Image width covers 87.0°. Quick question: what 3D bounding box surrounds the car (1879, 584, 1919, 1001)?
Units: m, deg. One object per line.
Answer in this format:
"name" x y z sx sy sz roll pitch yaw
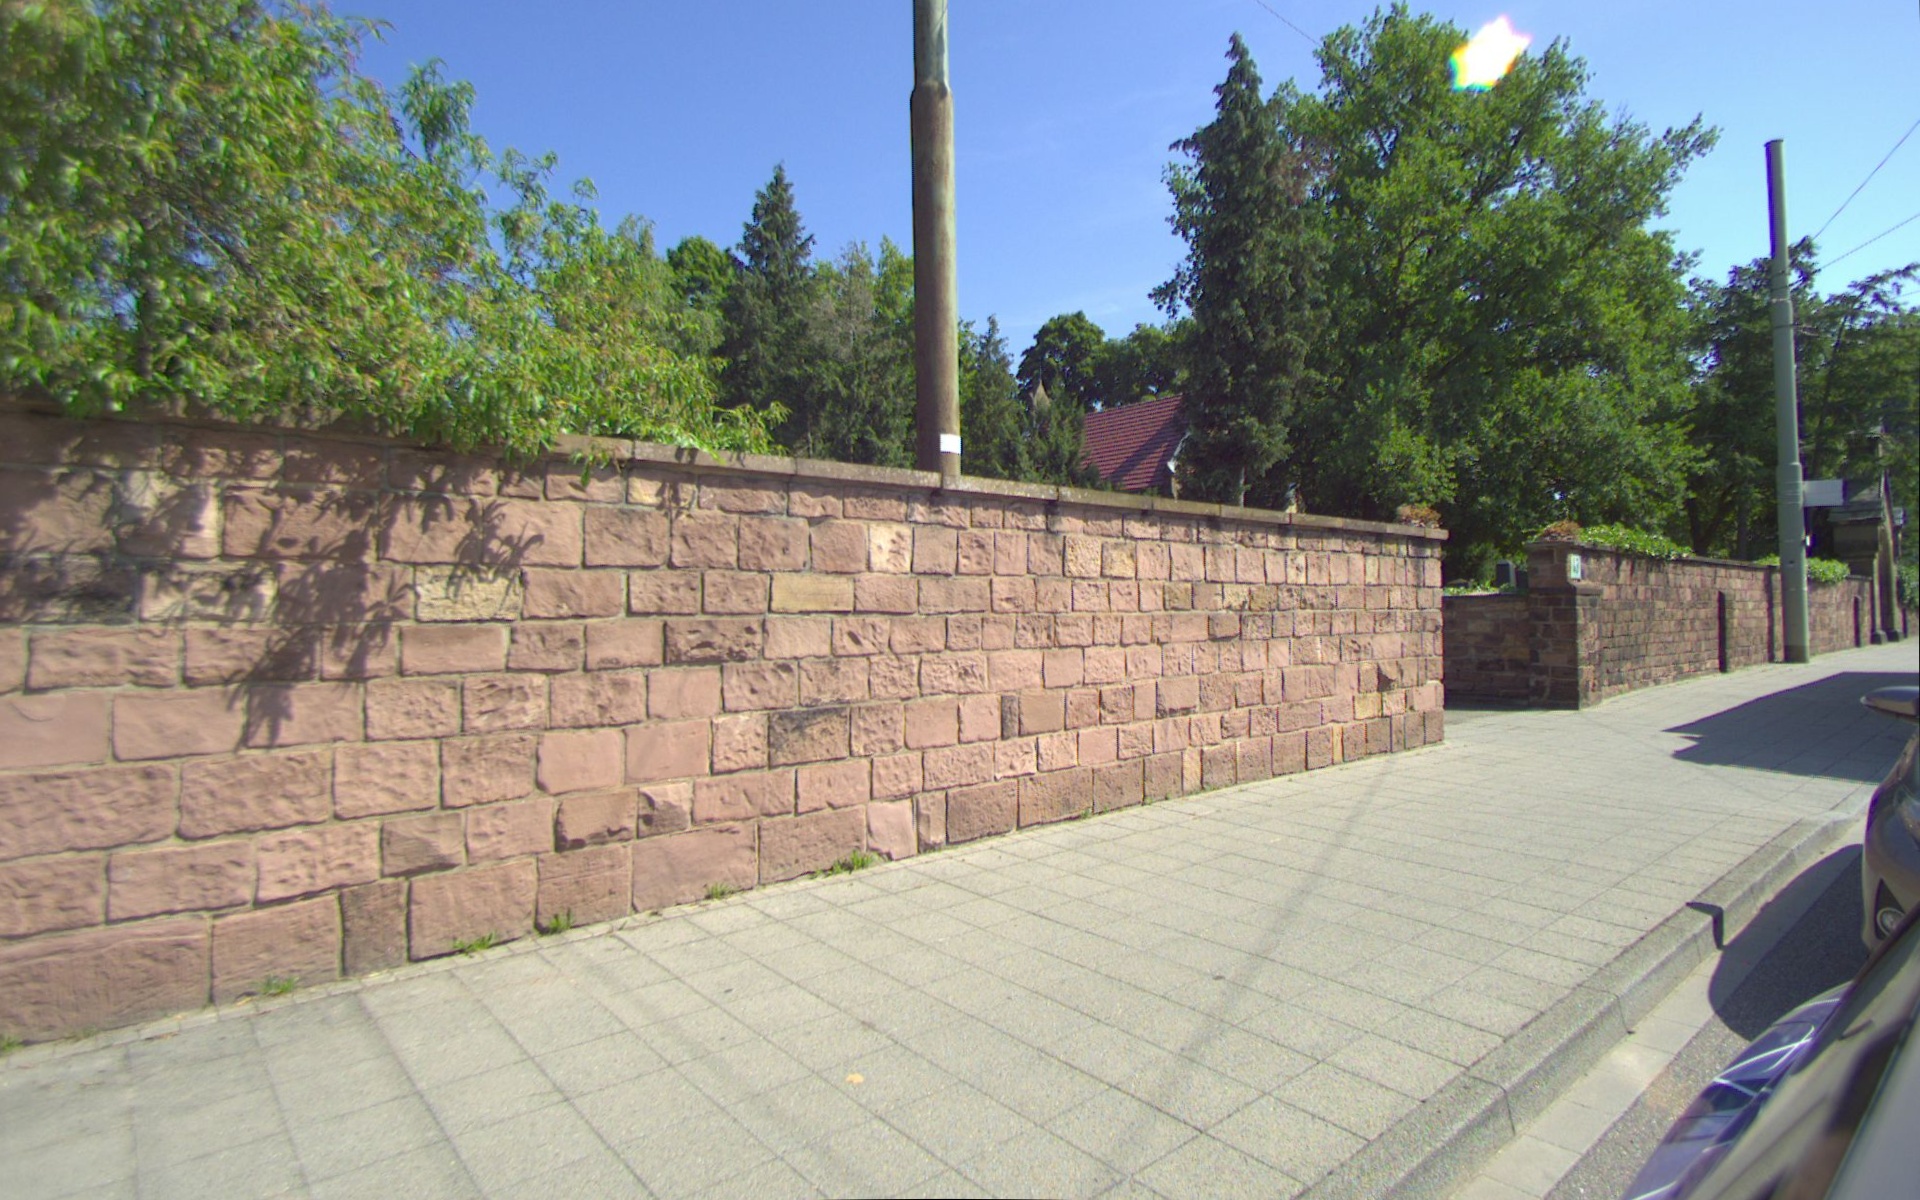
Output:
"car" 5.169 0.644 4.141 3.930 1.400 1.653 0 0 -41
